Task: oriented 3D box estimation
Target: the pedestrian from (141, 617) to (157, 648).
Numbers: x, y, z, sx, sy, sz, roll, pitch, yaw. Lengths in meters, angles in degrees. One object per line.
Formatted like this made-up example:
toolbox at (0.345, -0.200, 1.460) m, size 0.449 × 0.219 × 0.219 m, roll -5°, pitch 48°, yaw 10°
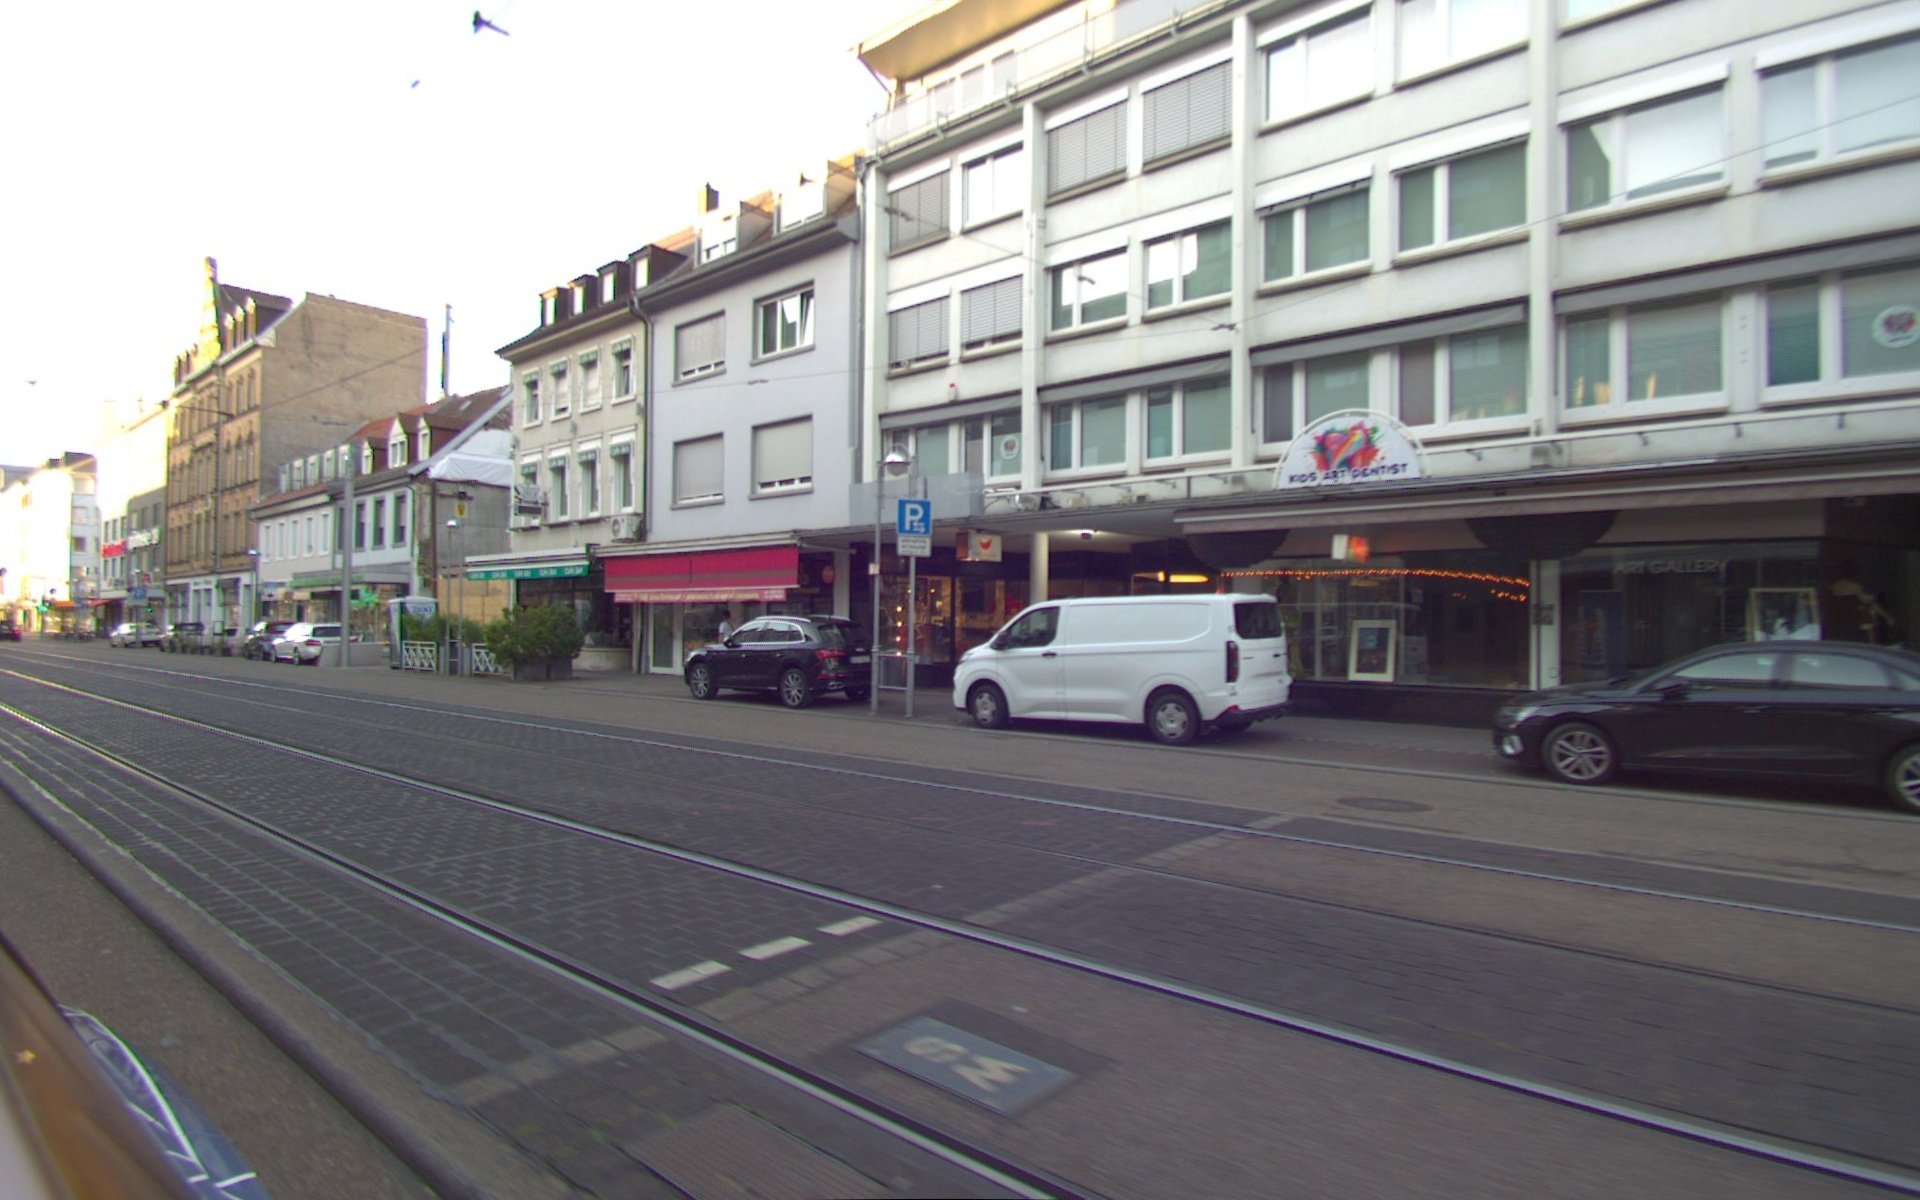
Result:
pedestrian at (-52.898, 2.113, 66.001) m, size 0.738 × 2.029 × 1.049 m, roll -1°, pitch 0°, yaw -45°

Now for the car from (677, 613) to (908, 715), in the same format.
car at (-3.331, 1.129, 19.596) m, size 4.586 × 1.710 × 1.973 m, roll -1°, pitch 0°, yaw 41°

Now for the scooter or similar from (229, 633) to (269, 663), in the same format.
scooter or similar at (-29.861, 1.999, 42.513) m, size 0.311 × 1.177 × 1.347 m, roll -1°, pitch 0°, yaw 43°

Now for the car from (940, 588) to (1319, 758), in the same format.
car at (2.263, 0.885, 14.521) m, size 5.096 × 2.029 × 1.944 m, roll -1°, pitch 0°, yaw 40°

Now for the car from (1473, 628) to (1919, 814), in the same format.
car at (7.674, 1.046, 9.759) m, size 4.569 × 1.437 × 1.852 m, roll -1°, pitch 0°, yaw 41°

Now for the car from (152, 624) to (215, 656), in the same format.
car at (-39.150, 1.977, 50.994) m, size 3.814 × 1.504 × 1.822 m, roll -1°, pitch 0°, yaw 41°

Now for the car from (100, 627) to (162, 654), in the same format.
car at (-48.402, 2.326, 59.083) m, size 4.399 × 1.431 × 1.974 m, roll -1°, pitch 0°, yaw 39°

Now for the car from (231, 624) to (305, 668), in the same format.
car at (-27.675, 1.798, 40.462) m, size 3.469 × 1.582 × 1.638 m, roll -1°, pitch 0°, yaw 41°

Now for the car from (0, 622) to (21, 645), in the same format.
car at (-68.736, 2.376, 72.299) m, size 3.997 × 1.574 × 1.973 m, roll -1°, pitch 0°, yaw 40°

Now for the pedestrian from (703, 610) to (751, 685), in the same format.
pedestrian at (-5.735, 1.153, 24.887) m, size 0.818 × 1.795 × 0.809 m, roll -1°, pitch 0°, yaw 41°

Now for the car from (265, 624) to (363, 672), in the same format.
car at (-23.872, 1.706, 37.340) m, size 4.621 × 1.568 × 1.871 m, roll -1°, pitch 0°, yaw 41°
